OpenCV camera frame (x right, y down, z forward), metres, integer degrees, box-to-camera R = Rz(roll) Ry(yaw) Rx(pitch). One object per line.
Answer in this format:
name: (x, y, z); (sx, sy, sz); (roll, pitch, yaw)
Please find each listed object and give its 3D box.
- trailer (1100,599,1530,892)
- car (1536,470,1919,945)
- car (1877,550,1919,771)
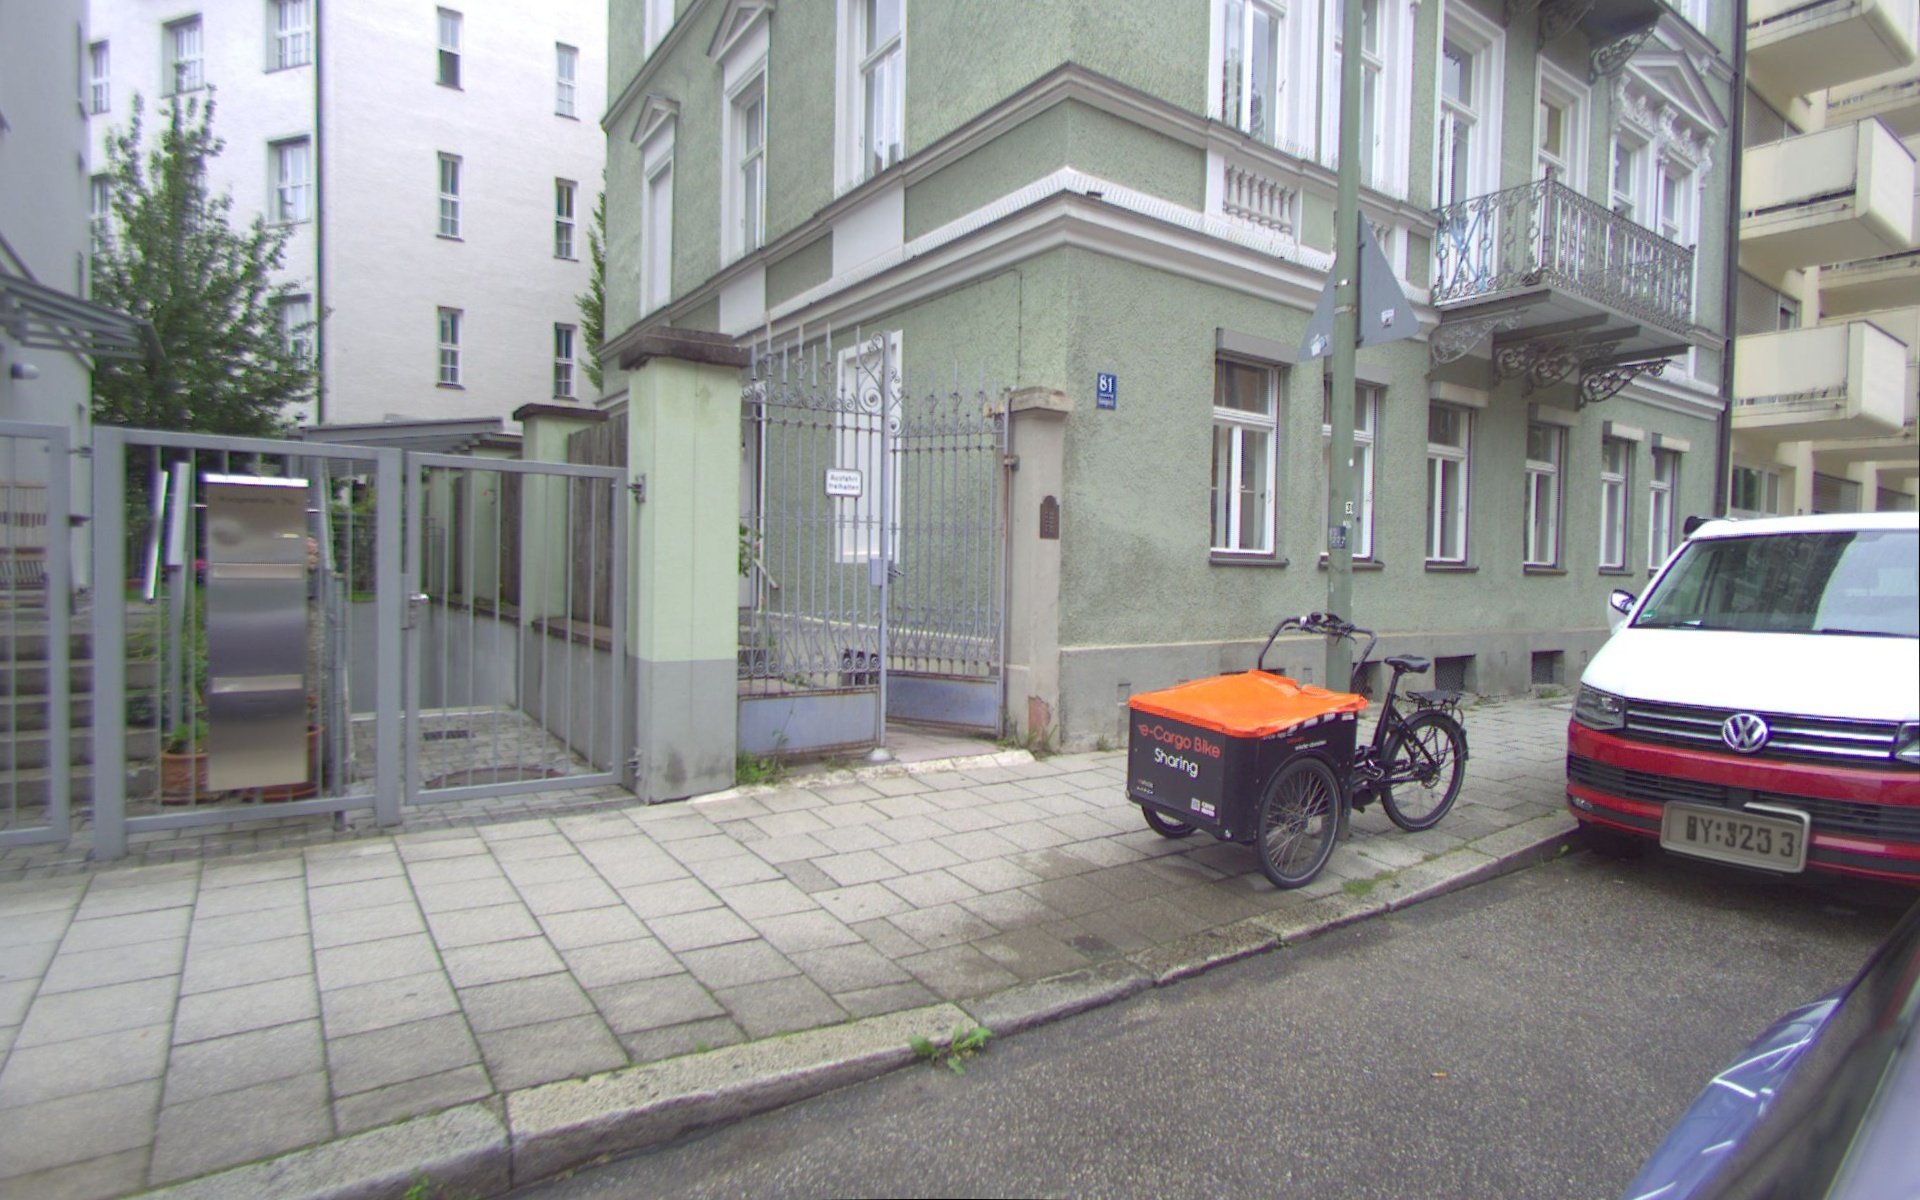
trailer: (1.901, 0.640, 5.362); (2.121, 1.198, 0.947); (0, 5, -31)
car: (5.410, 0.433, 5.857); (4.504, 1.920, 1.859); (0, 0, -35)
car: (9.920, 0.504, 8.944); (4.468, 1.780, 1.833); (0, 0, -36)
